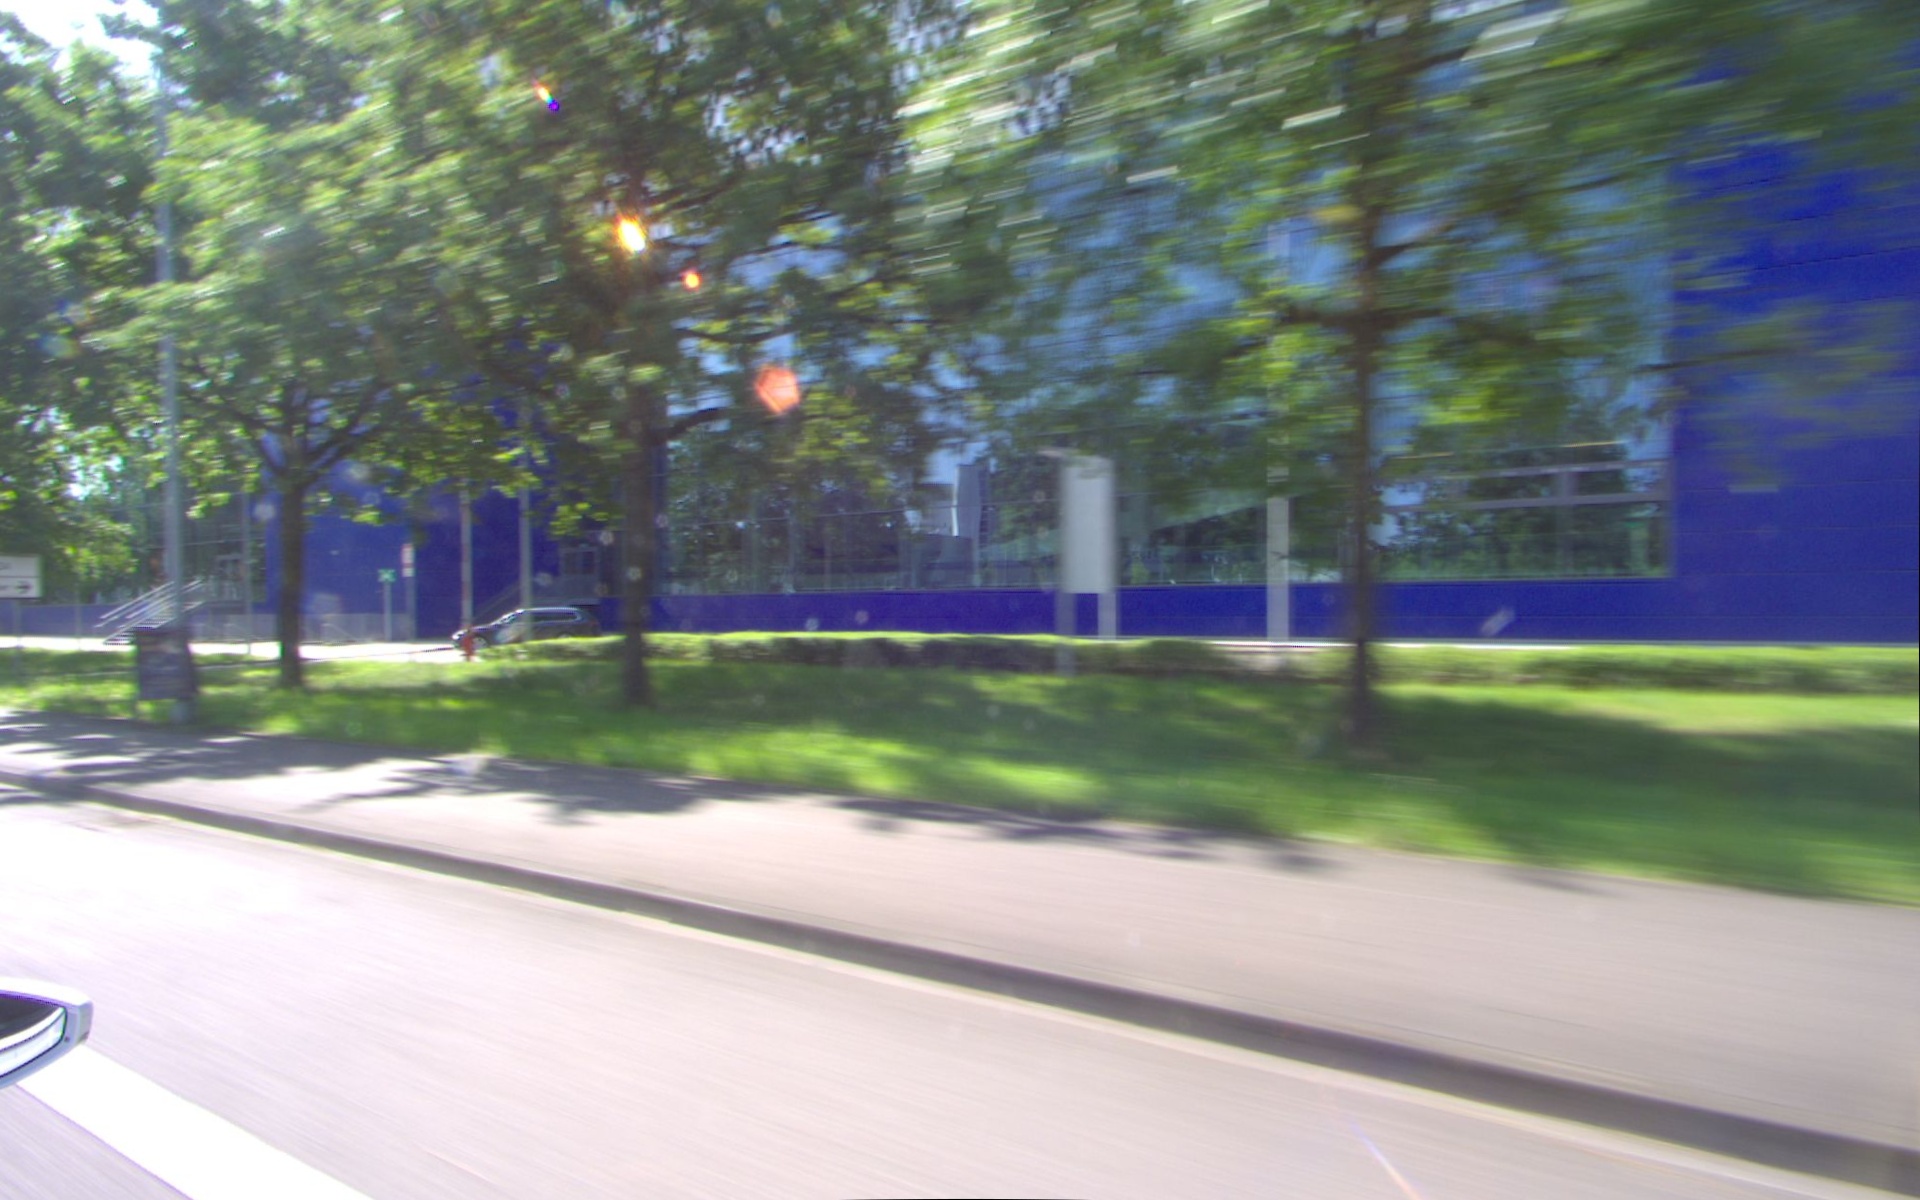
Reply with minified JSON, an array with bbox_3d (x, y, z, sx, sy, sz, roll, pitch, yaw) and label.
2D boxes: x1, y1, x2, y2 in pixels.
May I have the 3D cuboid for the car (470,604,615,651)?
[{"bbox_3d":[-14.208,0.908,34.331,4.293,1.540,1.909,0,0,-13],"label":"car"}]
